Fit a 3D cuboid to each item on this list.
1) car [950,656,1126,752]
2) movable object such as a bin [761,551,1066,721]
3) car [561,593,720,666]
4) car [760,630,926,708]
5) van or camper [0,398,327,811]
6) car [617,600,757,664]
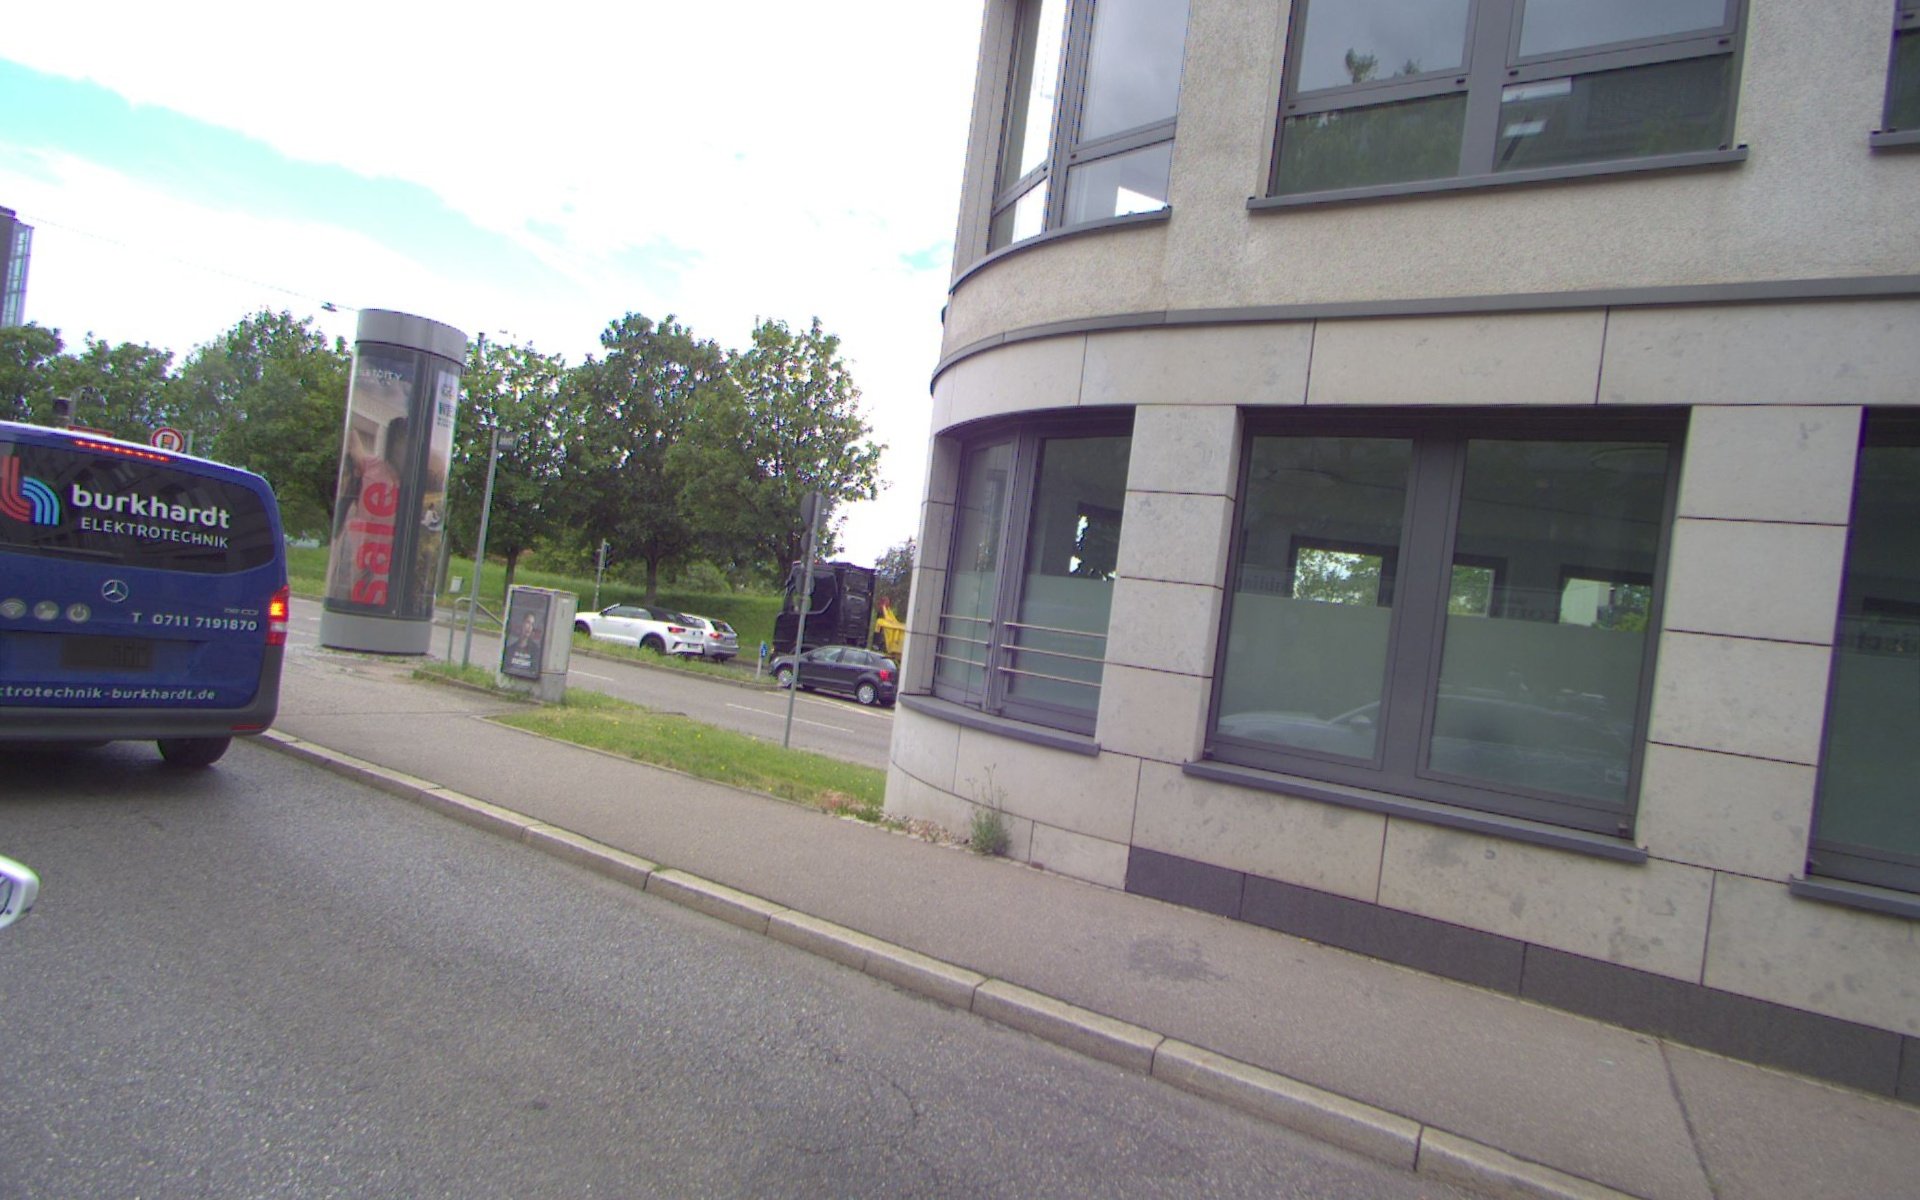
[{"bbox_3d":[2.023,2.628,25.713,3.925,1.723,2.003,8,-3,19],"label":"car"},{"bbox_3d":[-1.391,1.049,30.565,8.410,3.949,2.870,7,-1,18],"label":"movable object such as a bin"},{"bbox_3d":[-9.490,0.888,29.975,3.925,1.469,2.003,8,-3,19],"label":"car"},{"bbox_3d":[-3.192,1.908,27.734,3.925,1.469,2.003,8,-3,19],"label":"car"},{"bbox_3d":[-6.361,-0.173,6.367,4.949,1.934,1.862,7,-1,32],"label":"van or camper"},{"bbox_3d":[-9.098,1.076,33.603,3.925,1.469,2.003,8,-3,19],"label":"car"}]
